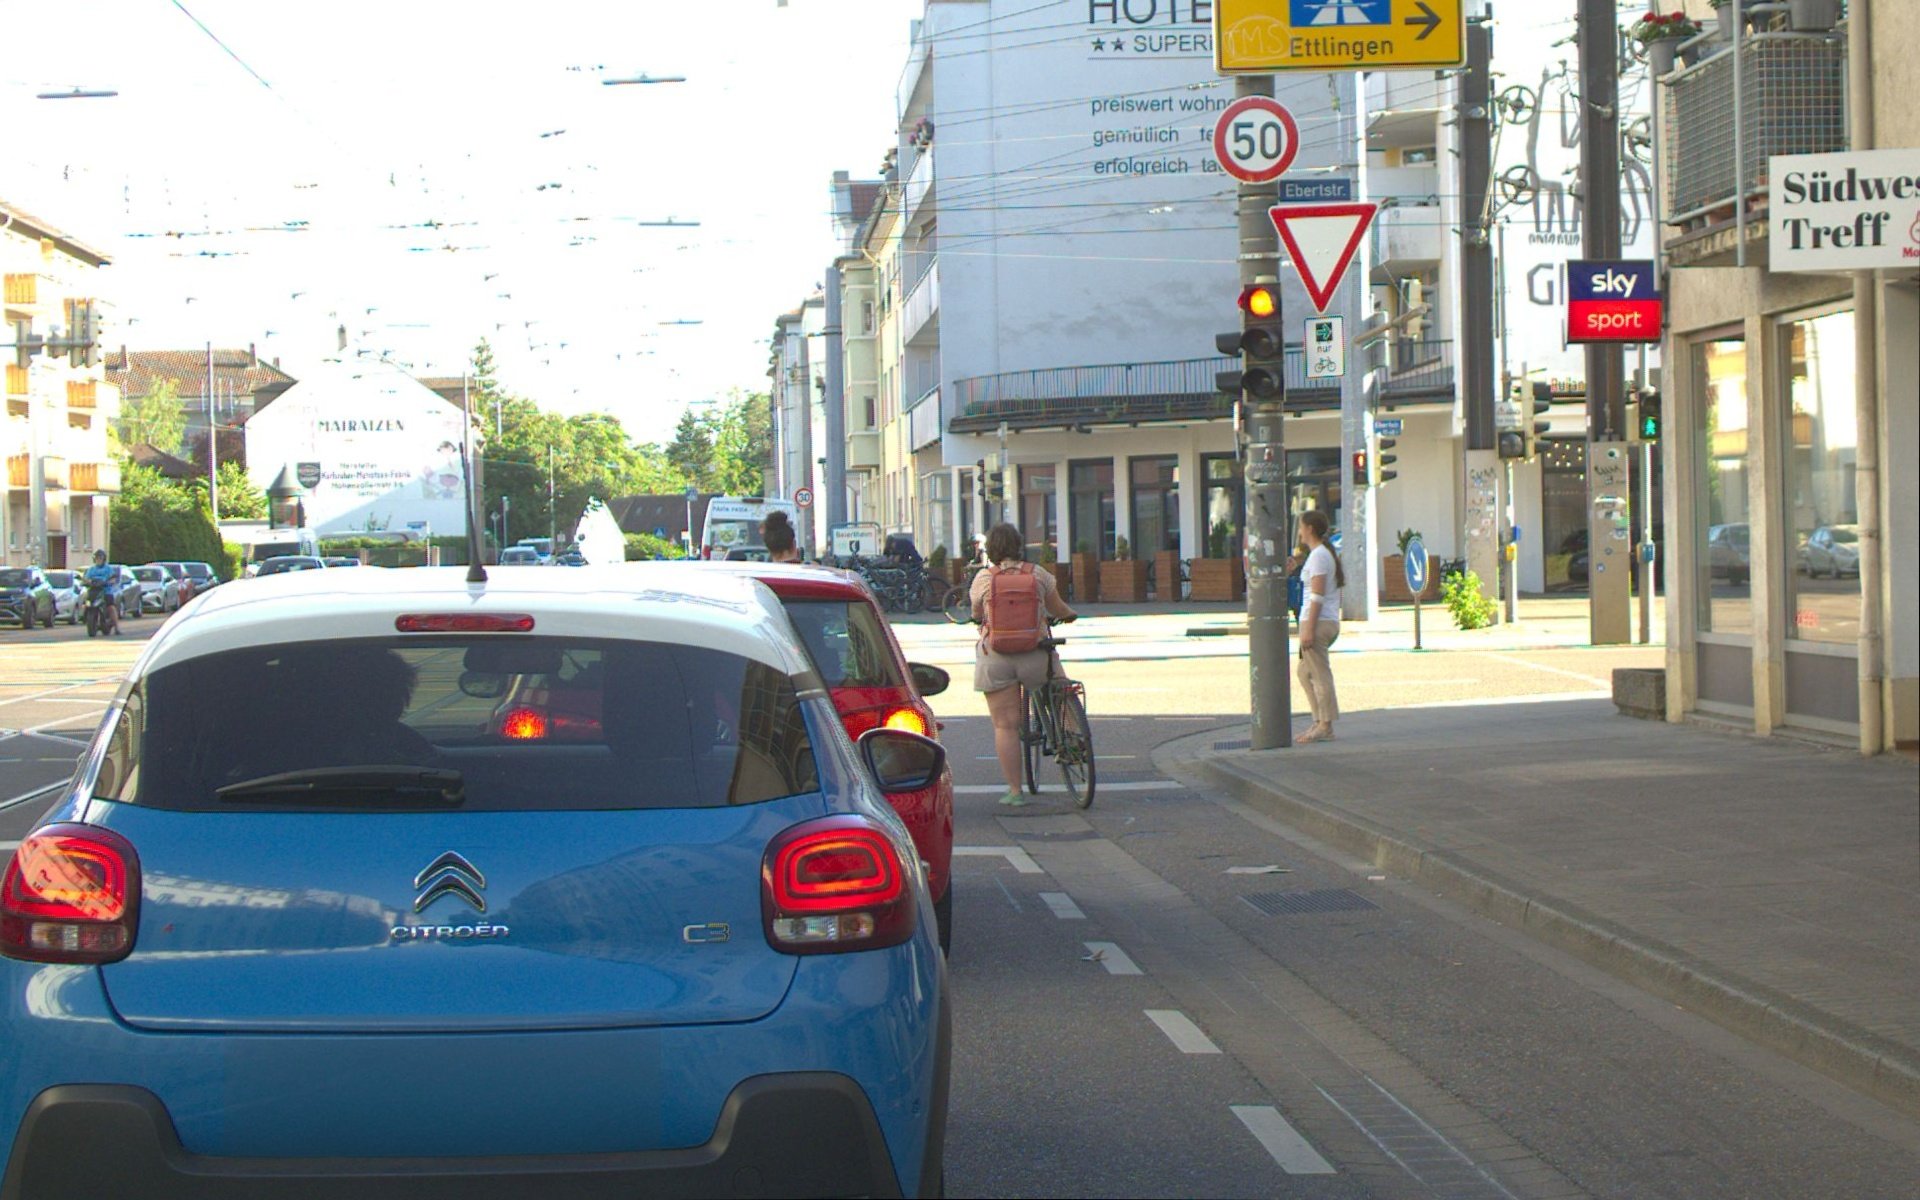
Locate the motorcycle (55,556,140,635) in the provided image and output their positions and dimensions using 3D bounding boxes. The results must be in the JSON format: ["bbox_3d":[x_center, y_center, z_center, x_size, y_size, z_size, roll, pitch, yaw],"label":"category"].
[{"bbox_3d":[-16.790,-0.107,67.014,0.923,1.481,3.726,1,1,-3],"label":"motorcycle"}]

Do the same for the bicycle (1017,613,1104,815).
[{"bbox_3d":[0.588,0.654,20.560,0.427,1.119,1.998,1,1,-1],"label":"bicycle"}]

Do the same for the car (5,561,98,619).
[{"bbox_3d":[-24.269,-0.279,91.940,1.732,1.493,4.001,1,1,-5],"label":"car"}]

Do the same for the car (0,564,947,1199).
[{"bbox_3d":[-0.877,0.657,7.172,1.654,1.439,3.523,1,1,-1],"label":"car"}]

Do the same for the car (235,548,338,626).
[{"bbox_3d":[-14.940,-0.308,76.423,1.774,1.660,3.857,1,1,-4],"label":"car"}]

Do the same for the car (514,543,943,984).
[{"bbox_3d":[-0.802,0.543,13.121,1.424,1.462,2.924,-1,0,-1],"label":"car"}]

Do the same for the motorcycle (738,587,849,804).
[{"bbox_3d":[-0.921,0.502,19.438,0.526,1.136,2.290,1,1,-1],"label":"motorcycle"}]

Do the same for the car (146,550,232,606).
[{"bbox_3d":[-23.853,-0.700,106.481,1.983,1.681,4.001,1,1,-3],"label":"car"}]

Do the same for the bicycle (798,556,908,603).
[{"bbox_3d":[-2.130,-0.410,68.337,2.132,0.898,0.367,1,0,-9],"label":"bicycle"}]

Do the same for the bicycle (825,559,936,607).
[{"bbox_3d":[-1.553,-0.329,67.142,2.132,0.898,0.367,1,0,-9],"label":"bicycle"}]

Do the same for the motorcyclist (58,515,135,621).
[{"bbox_3d":[-16.841,-0.631,67.108,1.185,2.007,1.276,-1,1,-3],"label":"motorcyclist"}]

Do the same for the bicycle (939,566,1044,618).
[{"bbox_3d":[0.566,-0.143,61.555,1.855,0.900,0.349,1,0,19],"label":"bicycle"}]

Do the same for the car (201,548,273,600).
[{"bbox_3d":[-24.515,-0.890,116.649,1.833,1.681,4.001,1,1,-4],"label":"car"}]

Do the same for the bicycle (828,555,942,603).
[{"bbox_3d":[-1.436,-0.400,65.877,2.132,0.898,0.367,1,0,-9],"label":"bicycle"}]

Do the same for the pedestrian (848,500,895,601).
[{"bbox_3d":[-1.780,-0.998,69.132,0.630,2.007,0.724,1,0,-36],"label":"pedestrian"}]

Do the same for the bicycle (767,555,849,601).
[{"bbox_3d":[-3.081,-0.447,69.460,1.785,0.898,0.366,1,1,34],"label":"bicycle"}]

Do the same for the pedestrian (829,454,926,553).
[{"bbox_3d":[-1.747,-2.037,73.532,1.993,2.007,4.000,1,1,-1],"label":"pedestrian"}]

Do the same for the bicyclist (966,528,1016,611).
[{"bbox_3d":[0.561,-0.556,61.622,0.746,1.472,0.562,1,0,17],"label":"bicyclist"}]

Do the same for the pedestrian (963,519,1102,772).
[{"bbox_3d":[0.419,0.260,20.242,0.777,1.455,0.682,1,0,-1],"label":"pedestrian"}]

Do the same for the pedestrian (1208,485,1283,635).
[{"bbox_3d":[3.886,-0.546,46.858,0.926,2.007,0.759,1,0,-1],"label":"pedestrian"}]

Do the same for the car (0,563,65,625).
[{"bbox_3d":[-23.723,-0.179,86.083,1.785,1.493,4.001,1,1,-4],"label":"car"}]

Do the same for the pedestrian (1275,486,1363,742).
[{"bbox_3d":[2.530,0.095,24.264,0.517,1.777,0.595,1,0,-2],"label":"pedestrian"}]

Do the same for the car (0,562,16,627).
[{"bbox_3d":[-23.164,-0.135,79.214,1.787,1.506,4.150,1,1,-2],"label":"car"}]

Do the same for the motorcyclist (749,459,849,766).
[{"bbox_3d":[-0.914,0.067,19.621,0.526,1.710,0.717,1,0,-1],"label":"motorcyclist"}]

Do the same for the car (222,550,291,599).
[{"bbox_3d":[-24.795,-0.897,121.297,1.846,1.681,3.875,1,1,-4],"label":"car"}]

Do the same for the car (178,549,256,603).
[{"bbox_3d":[-24.002,-0.784,111.223,1.882,1.681,4.001,1,1,-4],"label":"car"}]

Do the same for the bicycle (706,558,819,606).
[{"bbox_3d":[-3.813,-0.352,66.258,2.132,0.898,0.367,1,0,-9],"label":"bicycle"}]

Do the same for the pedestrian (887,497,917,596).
[{"bbox_3d":[-1.184,-1.095,70.247,0.577,2.007,0.626,1,0,-3],"label":"pedestrian"}]

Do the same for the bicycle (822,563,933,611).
[{"bbox_3d":[-1.617,-0.258,67.534,2.132,0.898,0.367,1,0,-9],"label":"bicycle"}]

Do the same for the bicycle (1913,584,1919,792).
[{"bbox_3d":[4.886,0.432,15.741,0.542,0.995,1.706,1,1,-1],"label":"bicycle"}]
